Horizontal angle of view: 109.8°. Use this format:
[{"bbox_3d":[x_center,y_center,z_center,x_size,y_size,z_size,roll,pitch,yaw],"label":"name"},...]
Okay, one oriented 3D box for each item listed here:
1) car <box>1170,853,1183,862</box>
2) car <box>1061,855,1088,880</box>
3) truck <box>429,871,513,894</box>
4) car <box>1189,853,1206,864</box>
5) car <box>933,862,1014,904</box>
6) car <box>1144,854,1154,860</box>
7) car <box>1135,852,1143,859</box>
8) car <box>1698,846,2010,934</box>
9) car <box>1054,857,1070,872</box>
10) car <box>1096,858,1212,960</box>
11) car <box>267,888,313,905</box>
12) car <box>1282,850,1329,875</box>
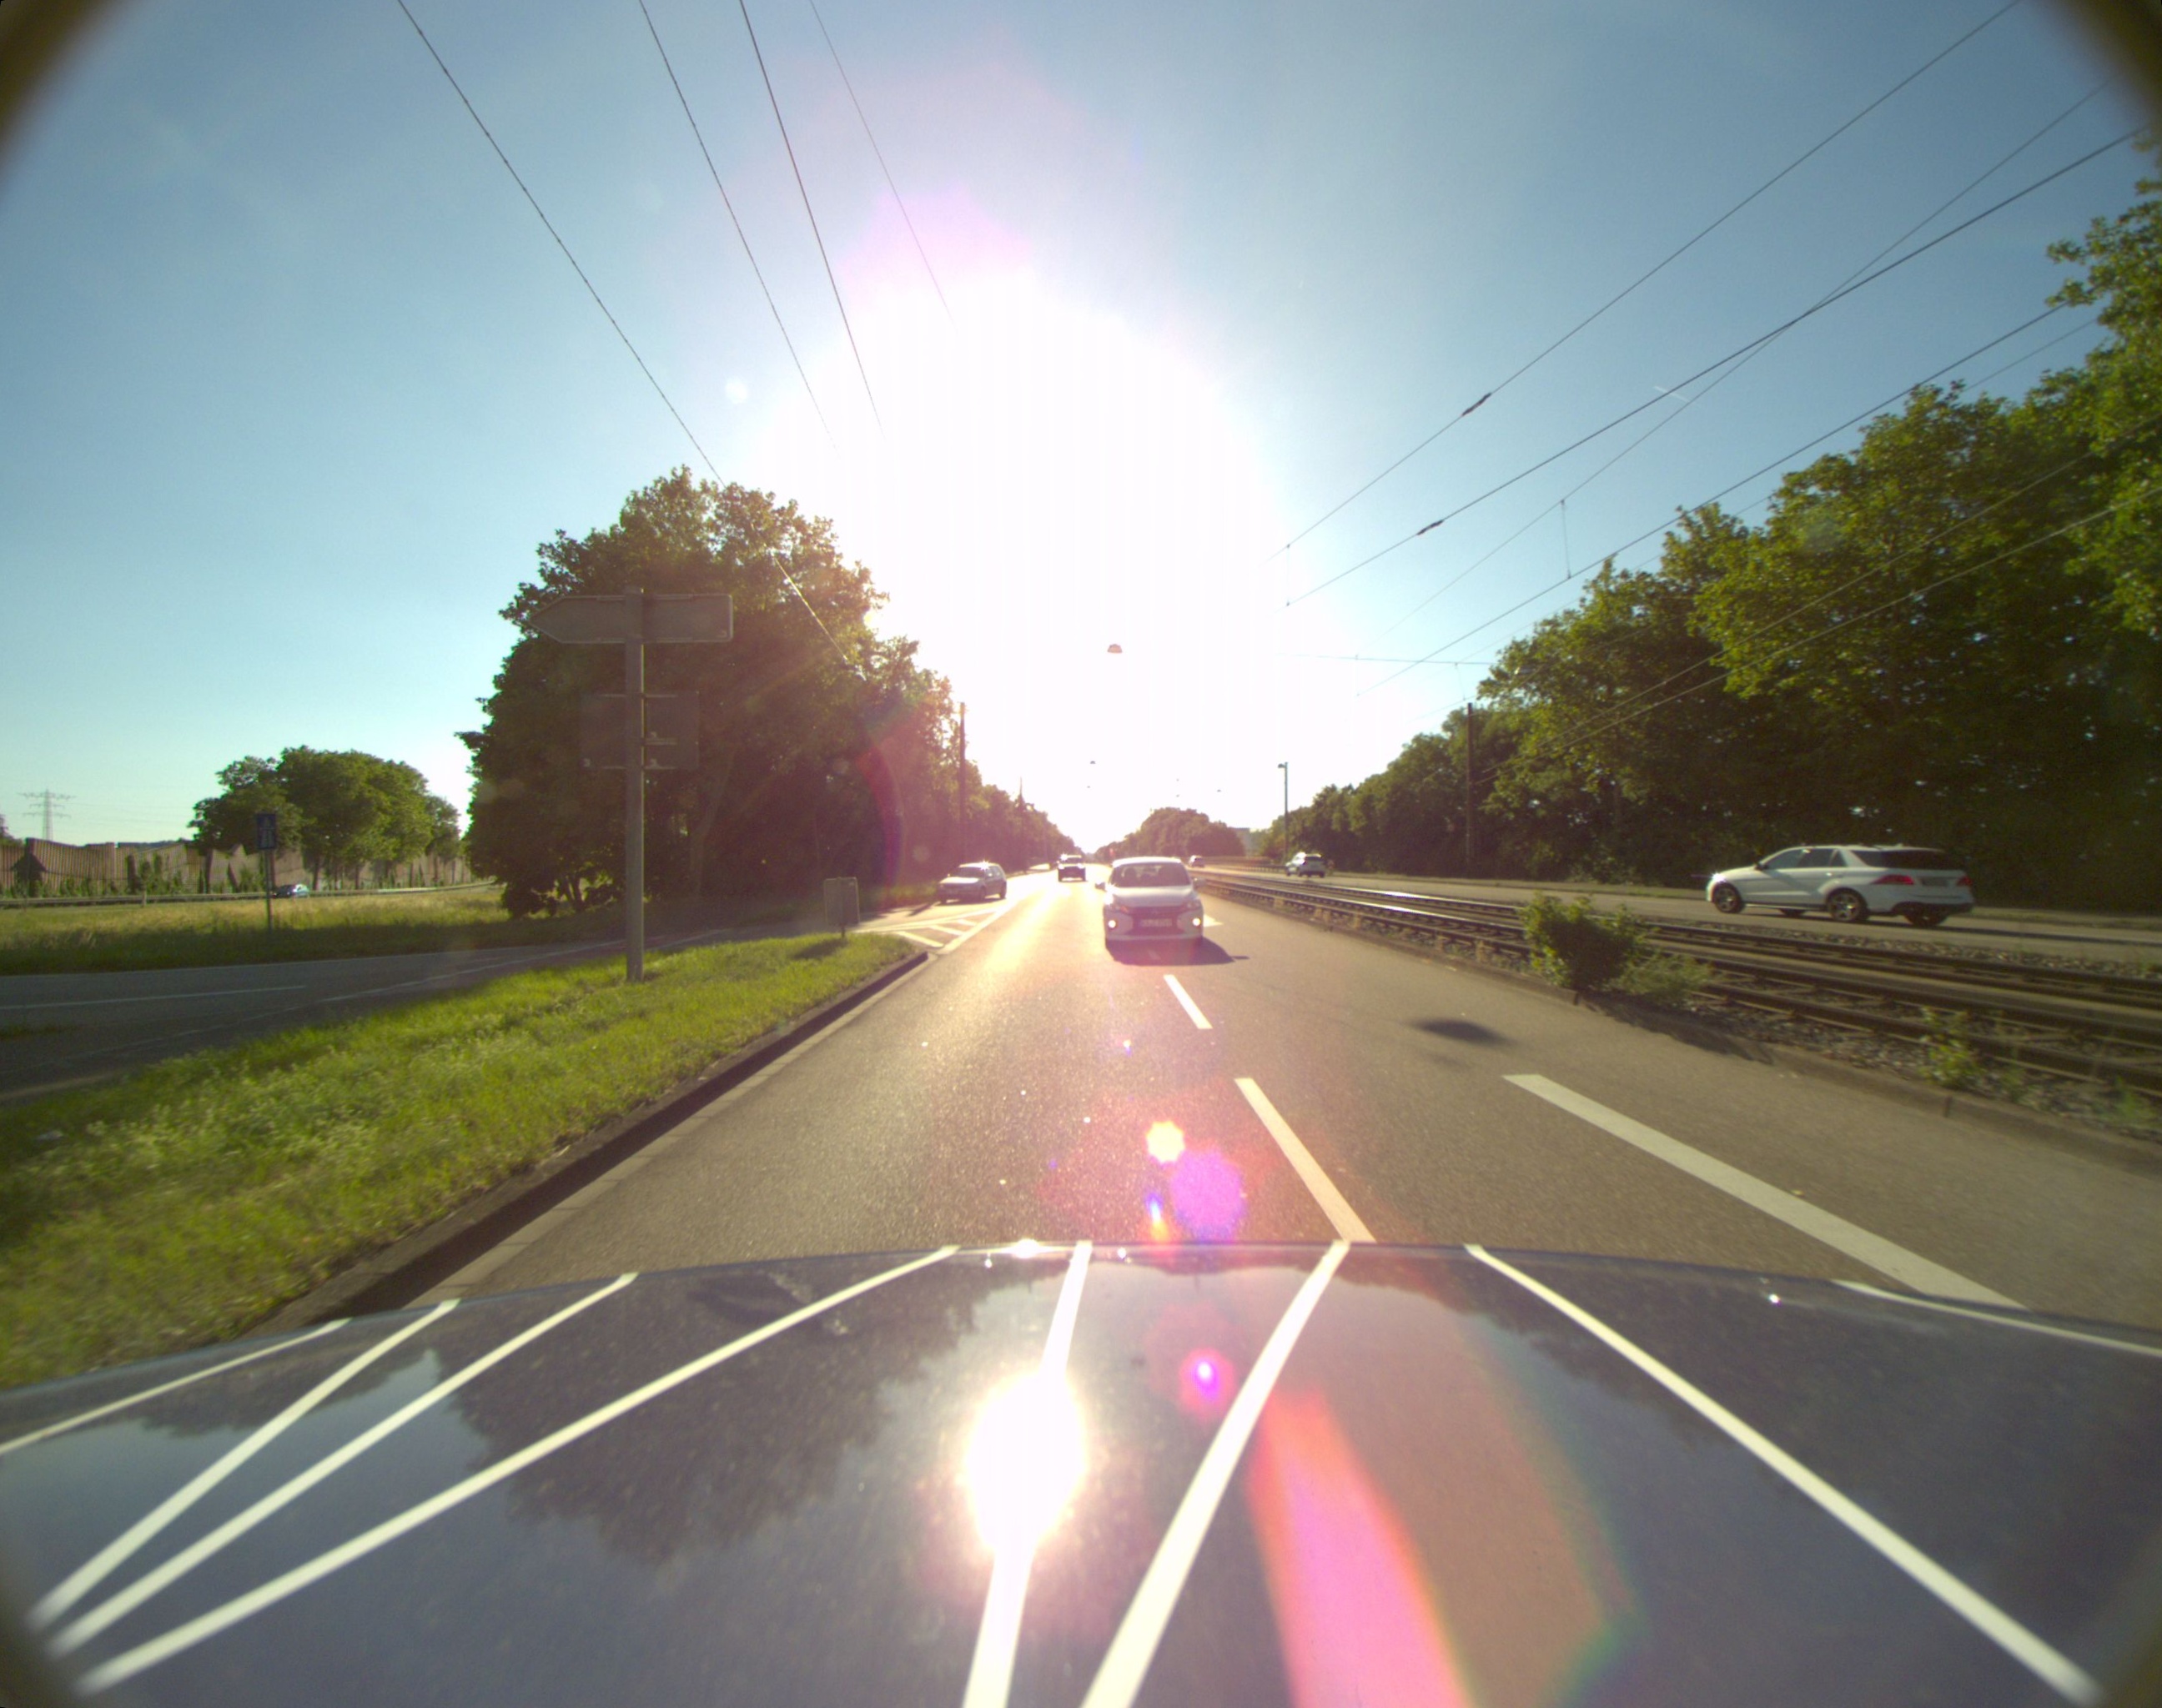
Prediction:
[{"bbox_3d":[15.627,0.517,124.444,1.661,1.424,4.501,1,0,0],"label":"car"},{"bbox_3d":[-0.386,0.855,49.996,1.709,1.512,3.844,-2,0,0],"label":"car"},{"bbox_3d":[-102.798,4.890,128.246,10.627,3.474,2.645,3,-1,-29],"label":"truck"},{"bbox_3d":[16.254,0.601,105.955,1.696,1.547,4.190,1,1,-1],"label":"car"},{"bbox_3d":[-4.157,1.103,30.137,1.691,1.409,4.139,-1,0,14],"label":"car"},{"bbox_3d":[15.439,0.682,172.224,1.759,1.406,4.876,2,1,-2],"label":"car"},{"bbox_3d":[15.214,0.393,200.138,1.713,1.571,4.800,0,0,-1],"label":"car"},{"bbox_3d":[17.276,0.688,17.471,1.968,1.697,4.942,1,1,-2],"label":"car"},{"bbox_3d":[-2.414,1.253,94.428,1.886,1.789,3.644,-2,0,-2],"label":"car"},{"bbox_3d":[1.178,0.864,13.708,1.709,1.503,3.862,-2,0,0],"label":"car"},{"bbox_3d":[-79.652,4.296,76.550,1.801,1.432,4.215,-2,1,-25],"label":"car"},{"bbox_3d":[16.944,0.615,57.545,1.851,1.724,4.930,2,1,-2],"label":"car"}]
